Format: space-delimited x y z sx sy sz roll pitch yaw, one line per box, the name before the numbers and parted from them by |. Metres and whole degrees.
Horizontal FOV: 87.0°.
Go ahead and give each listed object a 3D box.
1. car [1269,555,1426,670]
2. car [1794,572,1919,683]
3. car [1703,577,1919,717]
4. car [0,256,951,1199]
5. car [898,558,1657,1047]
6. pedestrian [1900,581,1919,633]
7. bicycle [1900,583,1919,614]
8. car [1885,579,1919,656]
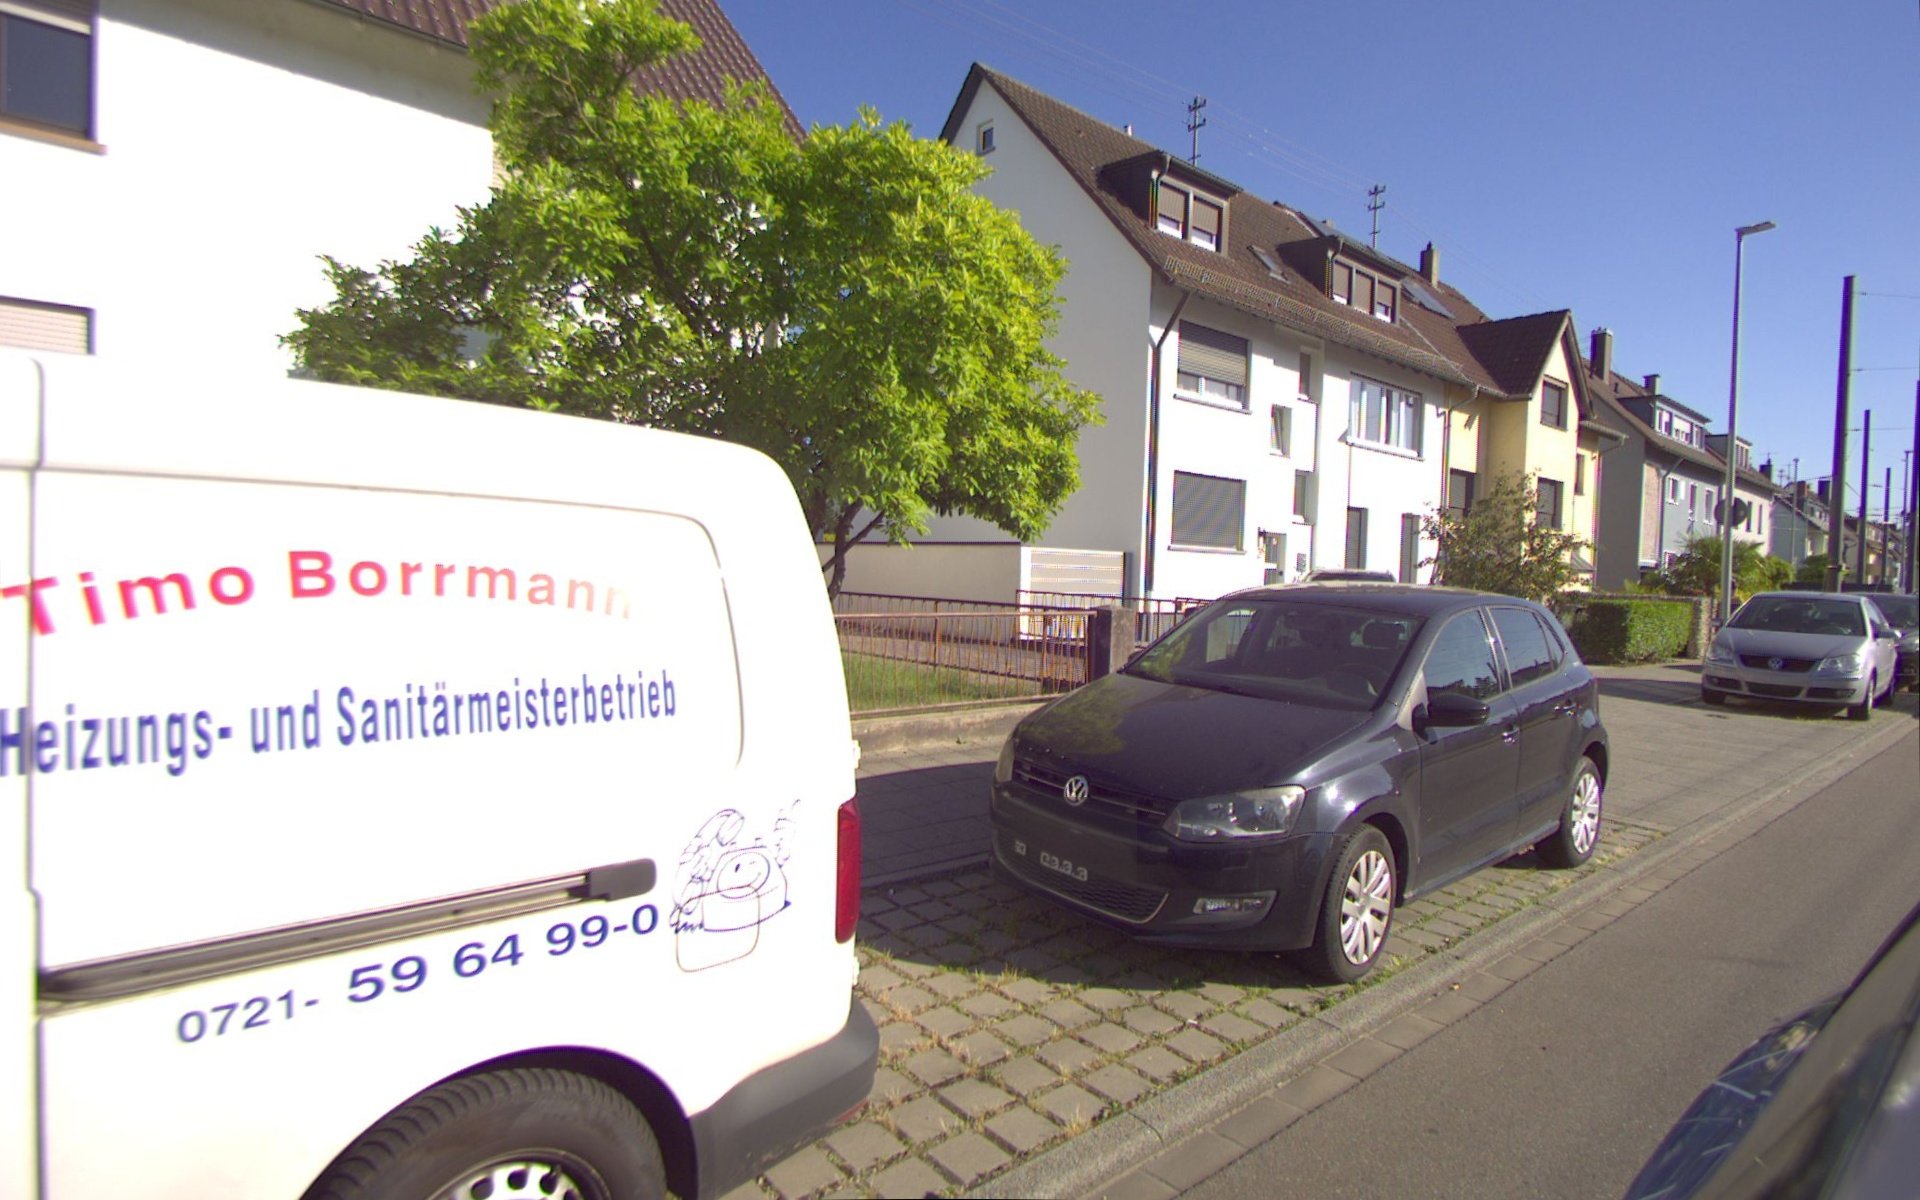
car | 6.327 0.085 16.267 1.979 1.462 4.843 3 3 24
car | 15.383 0.397 16.730 3.766 1.565 1.671 0 5 -39
car | 11.268 0.481 13.229 4.373 1.493 1.618 -1 3 -42
car | -2.333 0.445 1.359 4.572 1.798 1.694 0 2 -40
car | 1.823 0.579 5.052 4.053 1.470 1.675 -1 3 -40
pedestrian | 32.659 0.221 34.604 0.702 1.744 0.584 0 2 -39
bicycle | 32.981 -0.055 34.863 1.534 0.991 0.602 -1 4 -39
car | 23.218 0.412 23.621 4.395 1.679 1.858 0 3 -41
